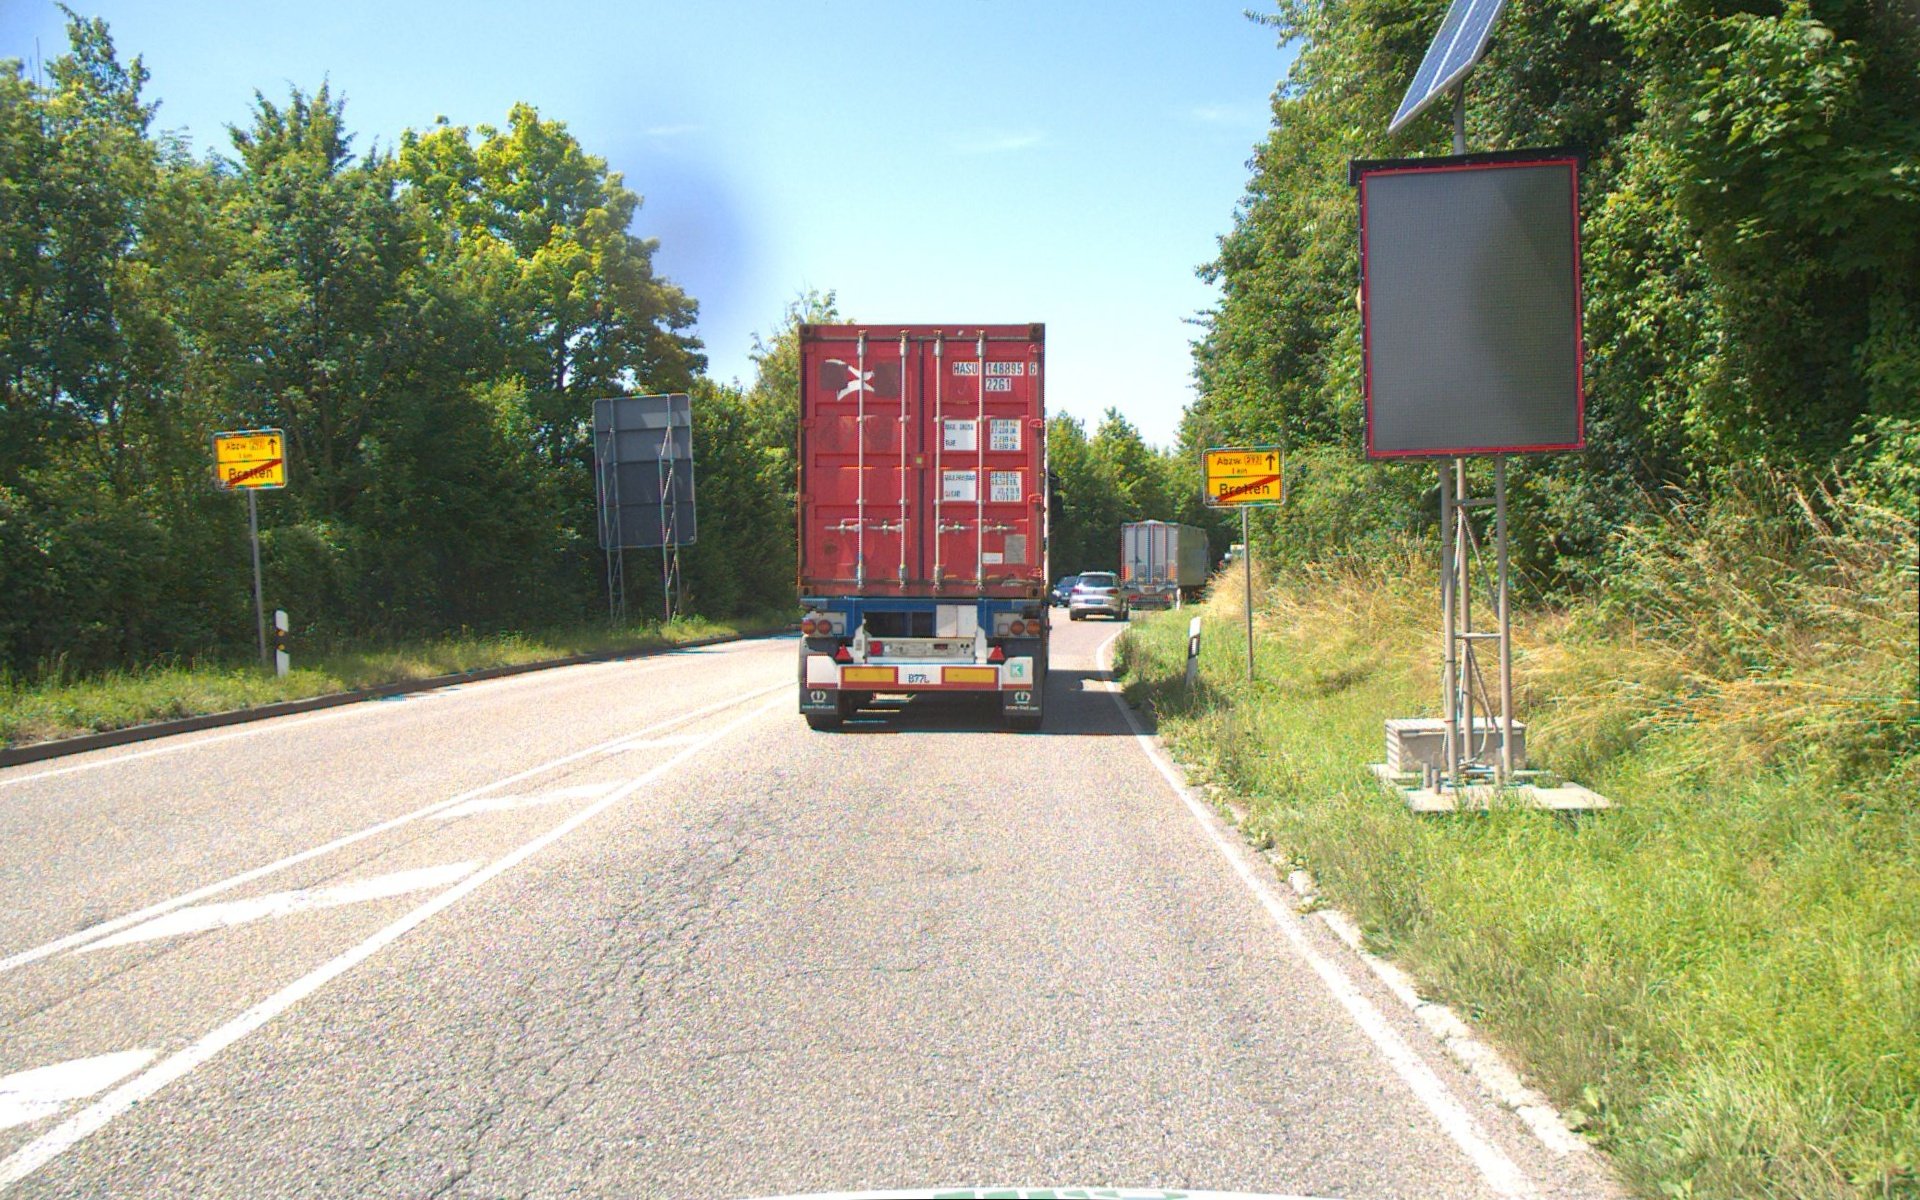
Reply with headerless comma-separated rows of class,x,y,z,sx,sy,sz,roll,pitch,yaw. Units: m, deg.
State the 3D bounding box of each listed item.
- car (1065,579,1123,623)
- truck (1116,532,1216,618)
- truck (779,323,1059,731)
car,4.748,0.013,58.184,1.793,1.458,4.003,1,1,8
truck,10.100,-1.178,79.651,2.860,3.782,13.369,1,1,15
truck,0.007,-0.724,22.463,2.592,3.873,13.366,1,0,4
